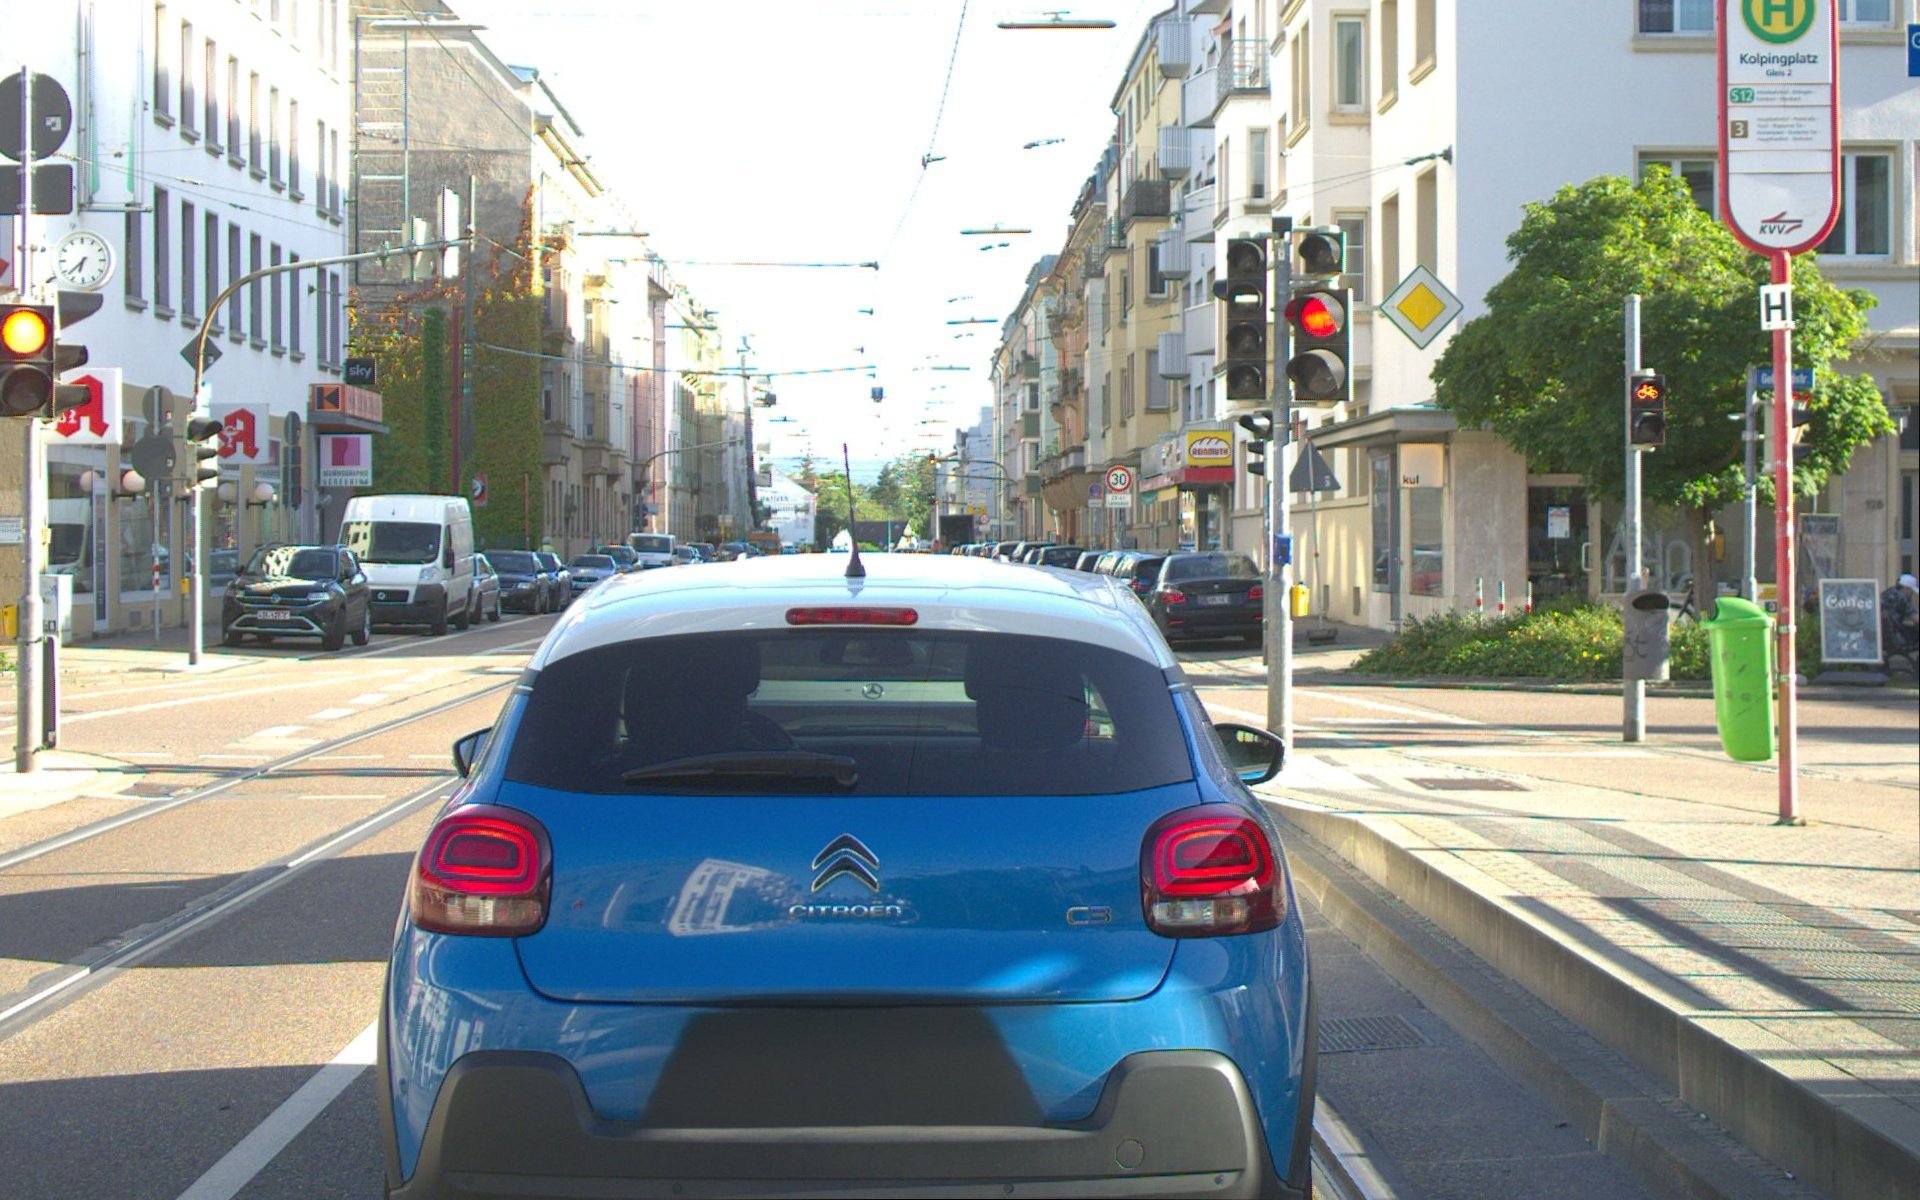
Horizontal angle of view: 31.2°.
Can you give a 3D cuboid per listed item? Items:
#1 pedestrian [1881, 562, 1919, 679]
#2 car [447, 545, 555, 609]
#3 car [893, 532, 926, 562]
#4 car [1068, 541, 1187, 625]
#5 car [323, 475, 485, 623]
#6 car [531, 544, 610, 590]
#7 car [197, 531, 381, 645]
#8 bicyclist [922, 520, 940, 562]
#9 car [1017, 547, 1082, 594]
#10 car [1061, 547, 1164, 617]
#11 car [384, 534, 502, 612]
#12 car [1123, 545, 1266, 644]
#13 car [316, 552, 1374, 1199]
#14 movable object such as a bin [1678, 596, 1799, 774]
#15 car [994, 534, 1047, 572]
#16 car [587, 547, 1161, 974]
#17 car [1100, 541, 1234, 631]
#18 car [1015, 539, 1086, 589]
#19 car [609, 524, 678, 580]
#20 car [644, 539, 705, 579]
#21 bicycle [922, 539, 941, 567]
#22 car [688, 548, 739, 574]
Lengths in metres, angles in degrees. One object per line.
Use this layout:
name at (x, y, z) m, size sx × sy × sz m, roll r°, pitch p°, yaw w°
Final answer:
pedestrian at (10.899, 0.231, 39.085) m, size 0.741 × 1.311 × 0.627 m, roll 0°, pitch 1°, yaw 23°
car at (-10.398, -0.530, 78.090) m, size 1.993 × 1.393 × 4.157 m, roll 1°, pitch 0°, yaw -2°
car at (-3.045, -3.227, 208.464) m, size 1.993 × 1.766 × 4.000 m, roll 0°, pitch 1°, yaw -1°
car at (3.027, -0.332, 62.935) m, size 1.993 × 1.496 × 4.000 m, roll 0°, pitch 1°, yaw 0°
car at (-10.078, -0.927, 62.748) m, size 2.085 × 2.533 × 6.206 m, roll 1°, pitch 1°, yaw -2°
car at (-11.672, -0.977, 103.216) m, size 1.993 × 1.320 × 3.923 m, roll 1°, pitch 0°, yaw -2°
car at (-10.169, -0.200, 52.419) m, size 1.993 × 1.563 × 4.403 m, roll 3°, pitch 0°, yaw -2°
bicyclist at (-1.401, -2.853, 166.667) m, size 0.809 × 2.007 × 0.922 m, roll 1°, pitch 0°, yaw -1°
car at (2.816, -0.955, 108.830) m, size 1.993 × 1.459 × 4.000 m, roll 0°, pitch 1°, yaw 0°
car at (3.202, -0.404, 72.889) m, size 1.993 × 1.459 × 4.000 m, roll 0°, pitch 1°, yaw 0°
car at (-10.413, -0.548, 69.443) m, size 1.888 × 1.491 × 3.562 m, roll 1°, pitch 0°, yaw -1°
car at (3.532, -0.112, 52.406) m, size 1.909 × 1.459 × 4.000 m, roll 0°, pitch 1°, yaw 0°
car at (-0.220, 0.654, 7.588) m, size 1.728 × 1.477 × 3.827 m, roll 1°, pitch 1°, yaw -1°
movable object such as a bin at (3.514, 0.378, 15.535) m, size 0.449 × 0.783 × 0.489 m, roll 0°, pitch 1°, yaw 2°
car at (2.333, -1.836, 133.226) m, size 1.993 × 1.459 × 4.000 m, roll 0°, pitch 1°, yaw 0°
car at (-0.335, 0.526, 14.452) m, size 1.984 × 1.459 × 4.816 m, roll 1°, pitch 1°, yaw -1°
car at (3.404, -0.257, 57.302) m, size 1.993 × 1.459 × 4.000 m, roll 0°, pitch 1°, yaw 0°
car at (2.661, -1.084, 102.068) m, size 1.993 × 1.459 × 4.504 m, roll 0°, pitch 1°, yaw 0°
car at (-11.649, -1.756, 126.745) m, size 2.006 × 2.007 × 4.689 m, roll 1°, pitch 0°, yaw 1°
car at (-11.316, -1.633, 136.634) m, size 1.955 × 1.547 × 3.938 m, roll 1°, pitch 0°, yaw 2°
bicycle at (-1.386, -2.285, 166.760) m, size 0.920 × 1.384 × 3.132 m, roll 0°, pitch 1°, yaw 0°
car at (-11.043, -1.744, 153.928) m, size 1.993 × 1.152 × 4.000 m, roll 0°, pitch 1°, yaw 0°
